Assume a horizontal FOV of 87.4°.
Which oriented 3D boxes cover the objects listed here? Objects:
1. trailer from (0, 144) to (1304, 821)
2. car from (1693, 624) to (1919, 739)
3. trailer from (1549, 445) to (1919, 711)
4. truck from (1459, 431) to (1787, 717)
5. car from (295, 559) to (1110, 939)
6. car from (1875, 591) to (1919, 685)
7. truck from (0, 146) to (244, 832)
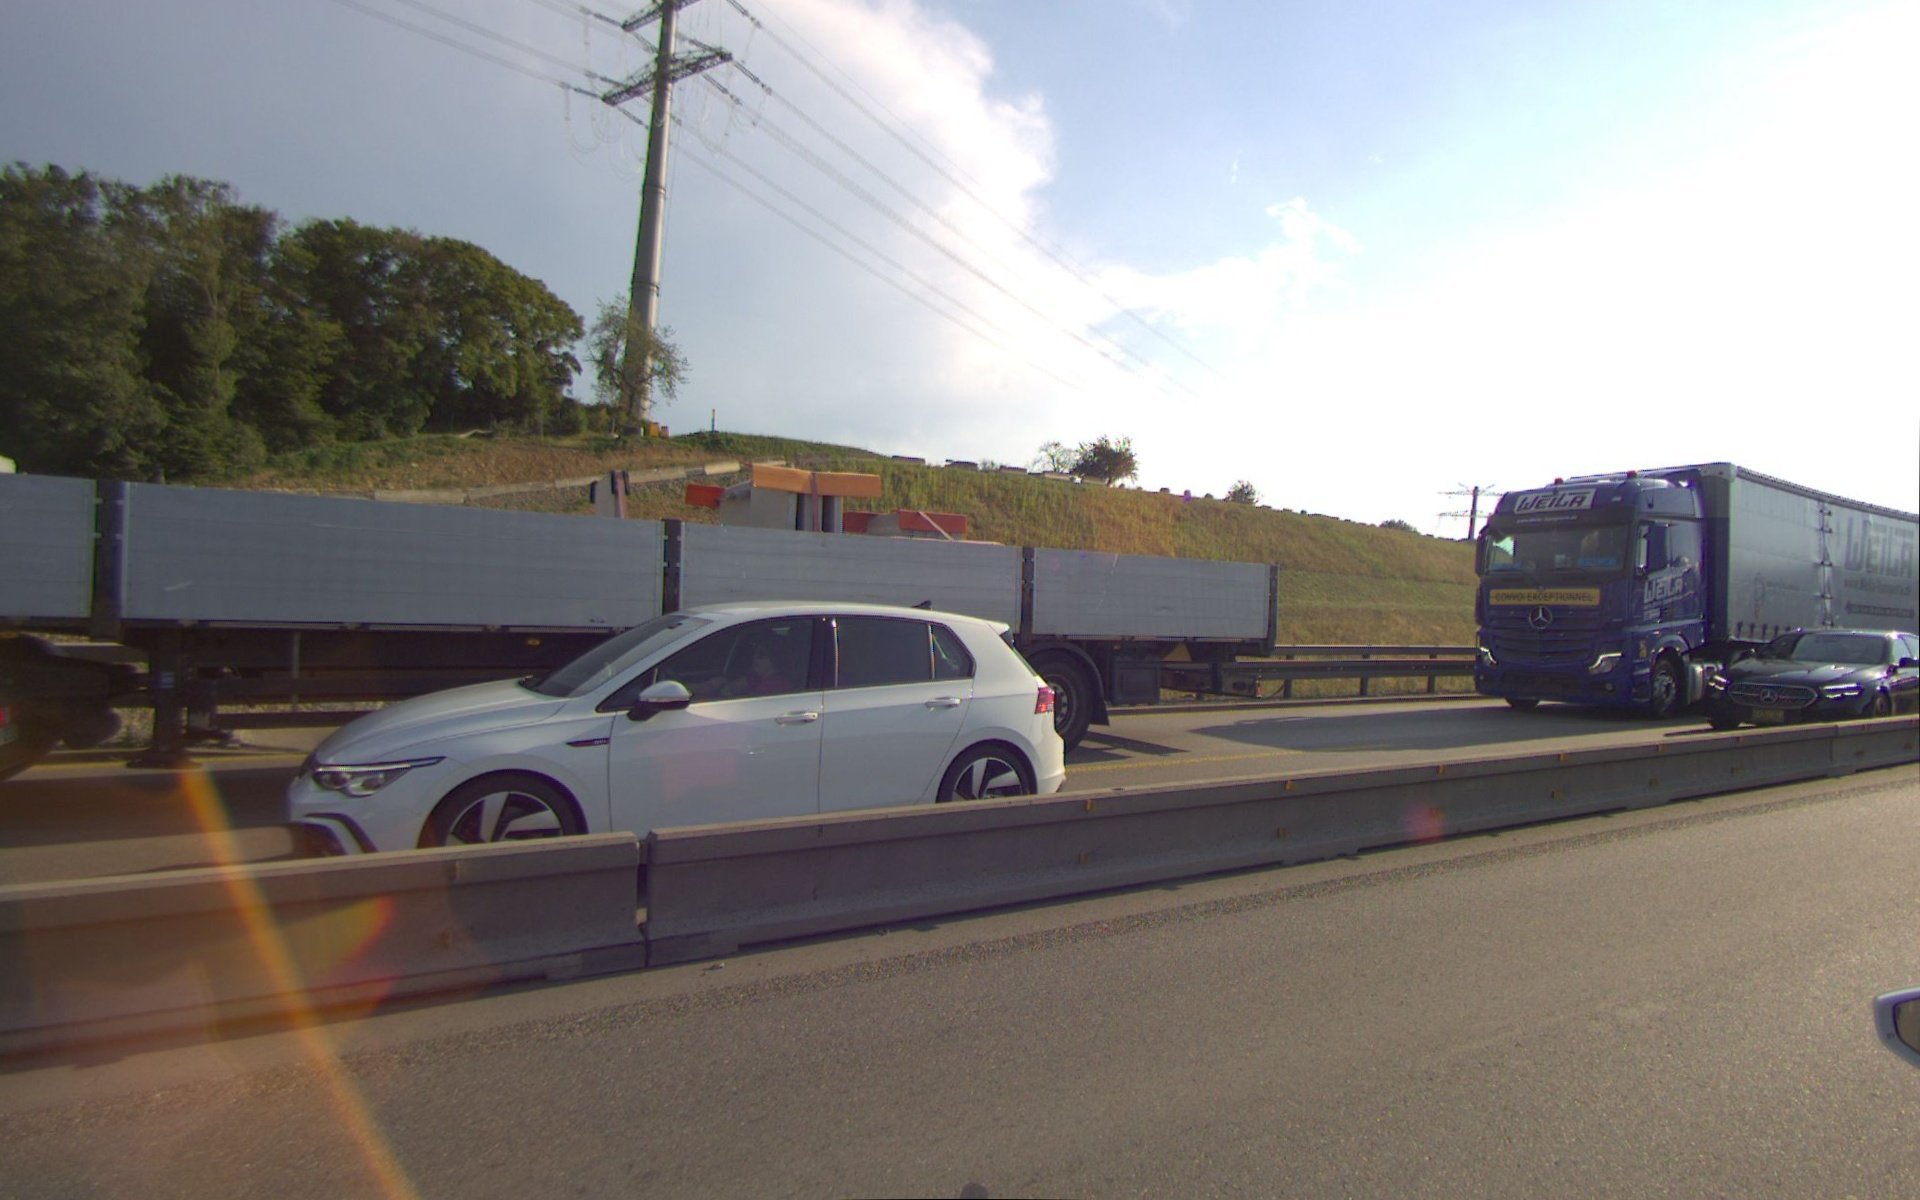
[{"bbox_3d":[-2.737,-0.544,8.677,13.819,3.774,2.507,2,-1,-31],"label":"trailer"},{"bbox_3d":[12.698,1.104,14.489,4.713,1.396,1.750,2,-1,-31],"label":"car"},{"bbox_3d":[17.088,-0.146,20.703,14.444,4.185,2.293,2,-1,-33],"label":"trailer"},{"bbox_3d":[11.320,-0.299,17.041,5.602,4.119,2.490,2,-1,-32],"label":"truck"},{"bbox_3d":[-1.317,0.659,5.909,4.207,1.528,1.750,2,-1,-32],"label":"car"},{"bbox_3d":[28.933,1.124,29.241,5.531,2.591,2.144,2,-1,-34],"label":"car"},{"bbox_3d":[-8.079,-0.688,5.478,6.440,3.804,2.589,2,-1,-30],"label":"truck"}]
